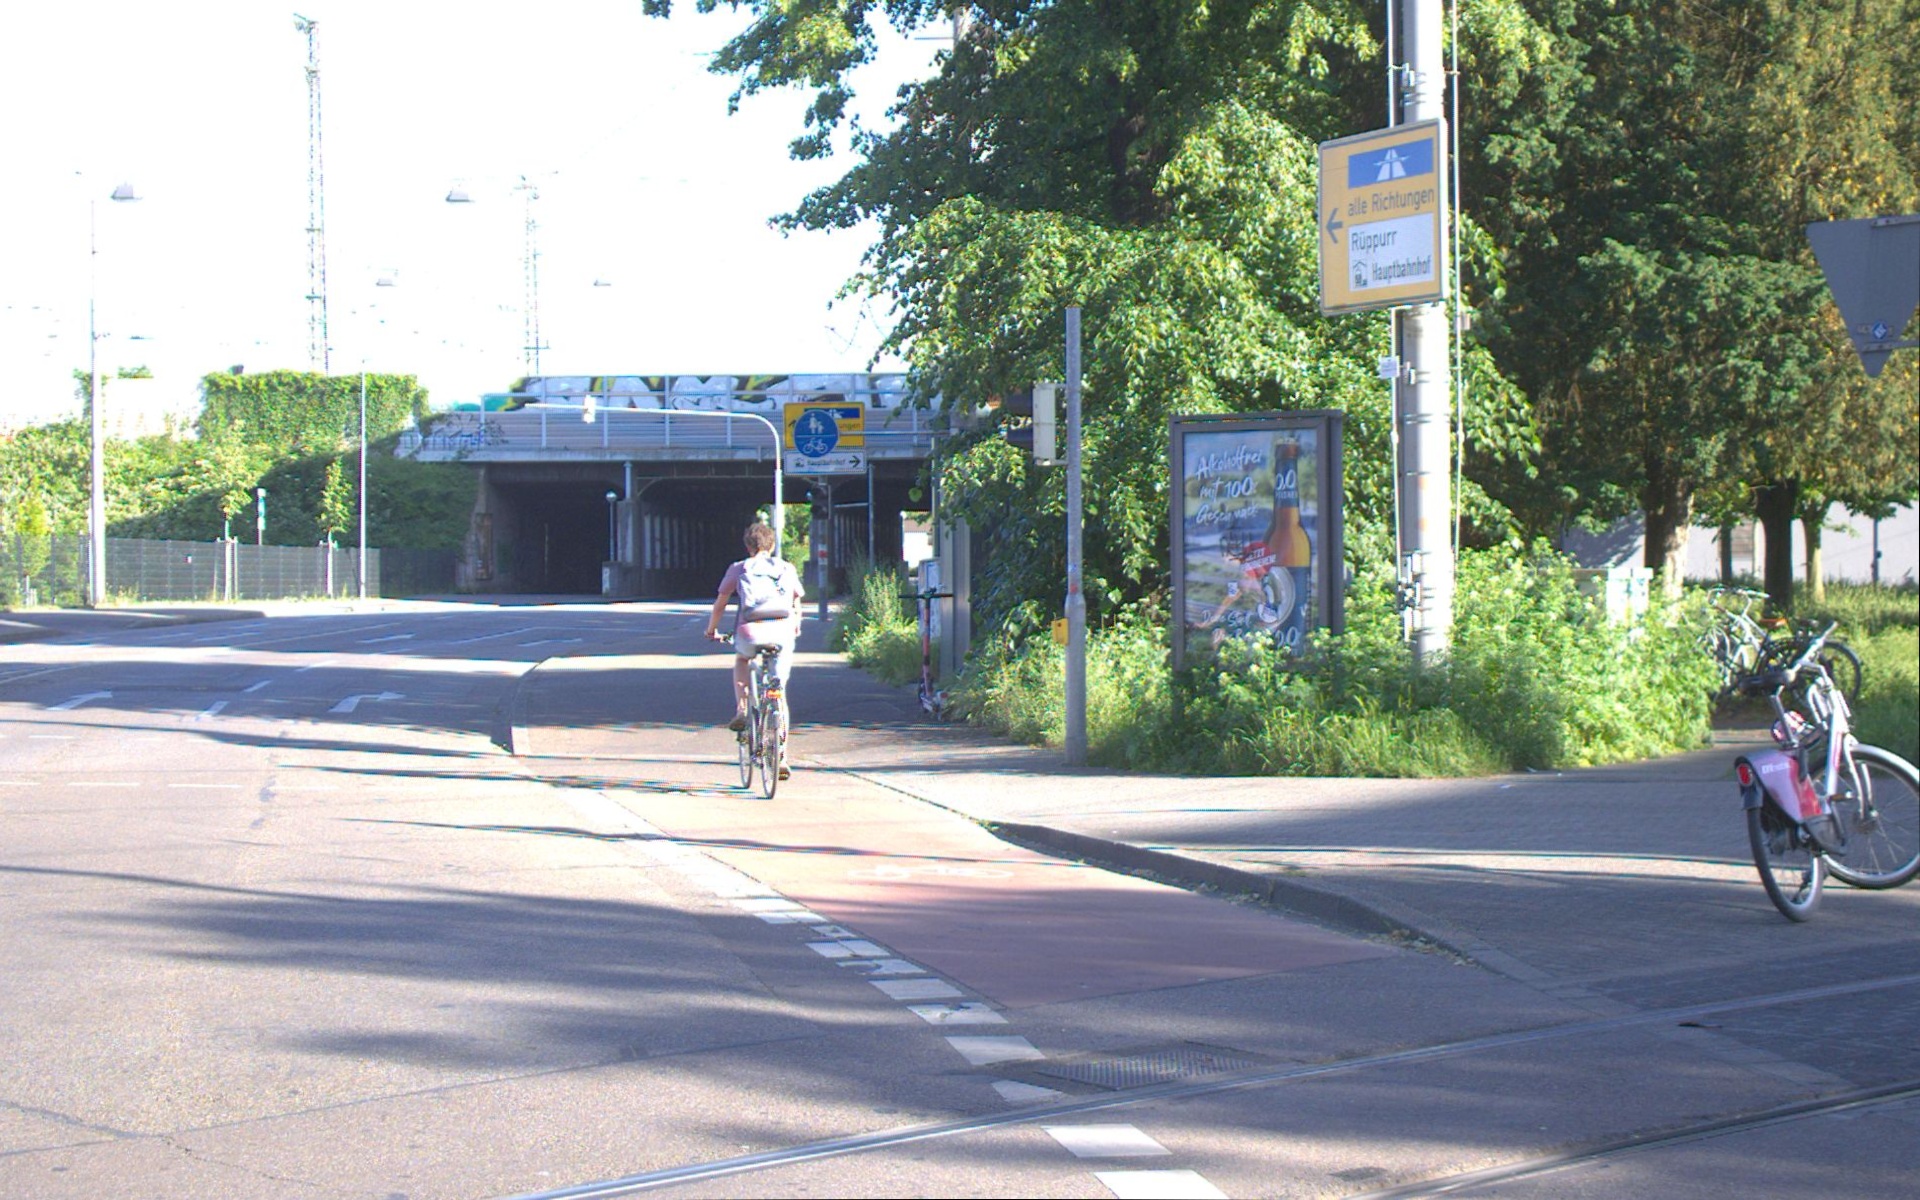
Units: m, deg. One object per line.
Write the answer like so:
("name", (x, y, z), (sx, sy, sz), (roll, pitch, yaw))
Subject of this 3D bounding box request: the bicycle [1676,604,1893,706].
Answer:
("bicycle", (7.758, 0.508, 32.390), (1.880, 0.903, 0.658), (1, 2, 33))

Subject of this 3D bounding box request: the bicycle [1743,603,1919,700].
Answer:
("bicycle", (8.757, 0.502, 33.947), (1.880, 0.903, 0.658), (1, 2, 33))

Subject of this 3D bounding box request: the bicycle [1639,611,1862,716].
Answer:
("bicycle", (7.243, 0.572, 31.549), (1.880, 0.903, 0.658), (1, 2, 33))

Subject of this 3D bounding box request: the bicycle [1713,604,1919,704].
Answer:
("bicycle", (8.271, 0.507, 33.105), (1.880, 0.903, 0.658), (1, 2, 33))

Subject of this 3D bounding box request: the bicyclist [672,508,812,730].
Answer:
("bicyclist", (-1.536, 0.112, 24.027), (0.840, 1.504, 1.369), (0, 1, -9))

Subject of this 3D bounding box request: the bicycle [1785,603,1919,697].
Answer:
("bicycle", (9.338, 0.503, 34.644), (1.880, 0.903, 0.658), (1, 2, 33))

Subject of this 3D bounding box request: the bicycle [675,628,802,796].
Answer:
("bicycle", (-1.570, 0.758, 24.126), (0.667, 1.056, 2.083), (0, 1, -10))

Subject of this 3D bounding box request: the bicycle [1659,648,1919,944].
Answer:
("bicycle", (3.567, 0.764, 14.171), (0.826, 1.056, 1.880), (1, 2, 29))
